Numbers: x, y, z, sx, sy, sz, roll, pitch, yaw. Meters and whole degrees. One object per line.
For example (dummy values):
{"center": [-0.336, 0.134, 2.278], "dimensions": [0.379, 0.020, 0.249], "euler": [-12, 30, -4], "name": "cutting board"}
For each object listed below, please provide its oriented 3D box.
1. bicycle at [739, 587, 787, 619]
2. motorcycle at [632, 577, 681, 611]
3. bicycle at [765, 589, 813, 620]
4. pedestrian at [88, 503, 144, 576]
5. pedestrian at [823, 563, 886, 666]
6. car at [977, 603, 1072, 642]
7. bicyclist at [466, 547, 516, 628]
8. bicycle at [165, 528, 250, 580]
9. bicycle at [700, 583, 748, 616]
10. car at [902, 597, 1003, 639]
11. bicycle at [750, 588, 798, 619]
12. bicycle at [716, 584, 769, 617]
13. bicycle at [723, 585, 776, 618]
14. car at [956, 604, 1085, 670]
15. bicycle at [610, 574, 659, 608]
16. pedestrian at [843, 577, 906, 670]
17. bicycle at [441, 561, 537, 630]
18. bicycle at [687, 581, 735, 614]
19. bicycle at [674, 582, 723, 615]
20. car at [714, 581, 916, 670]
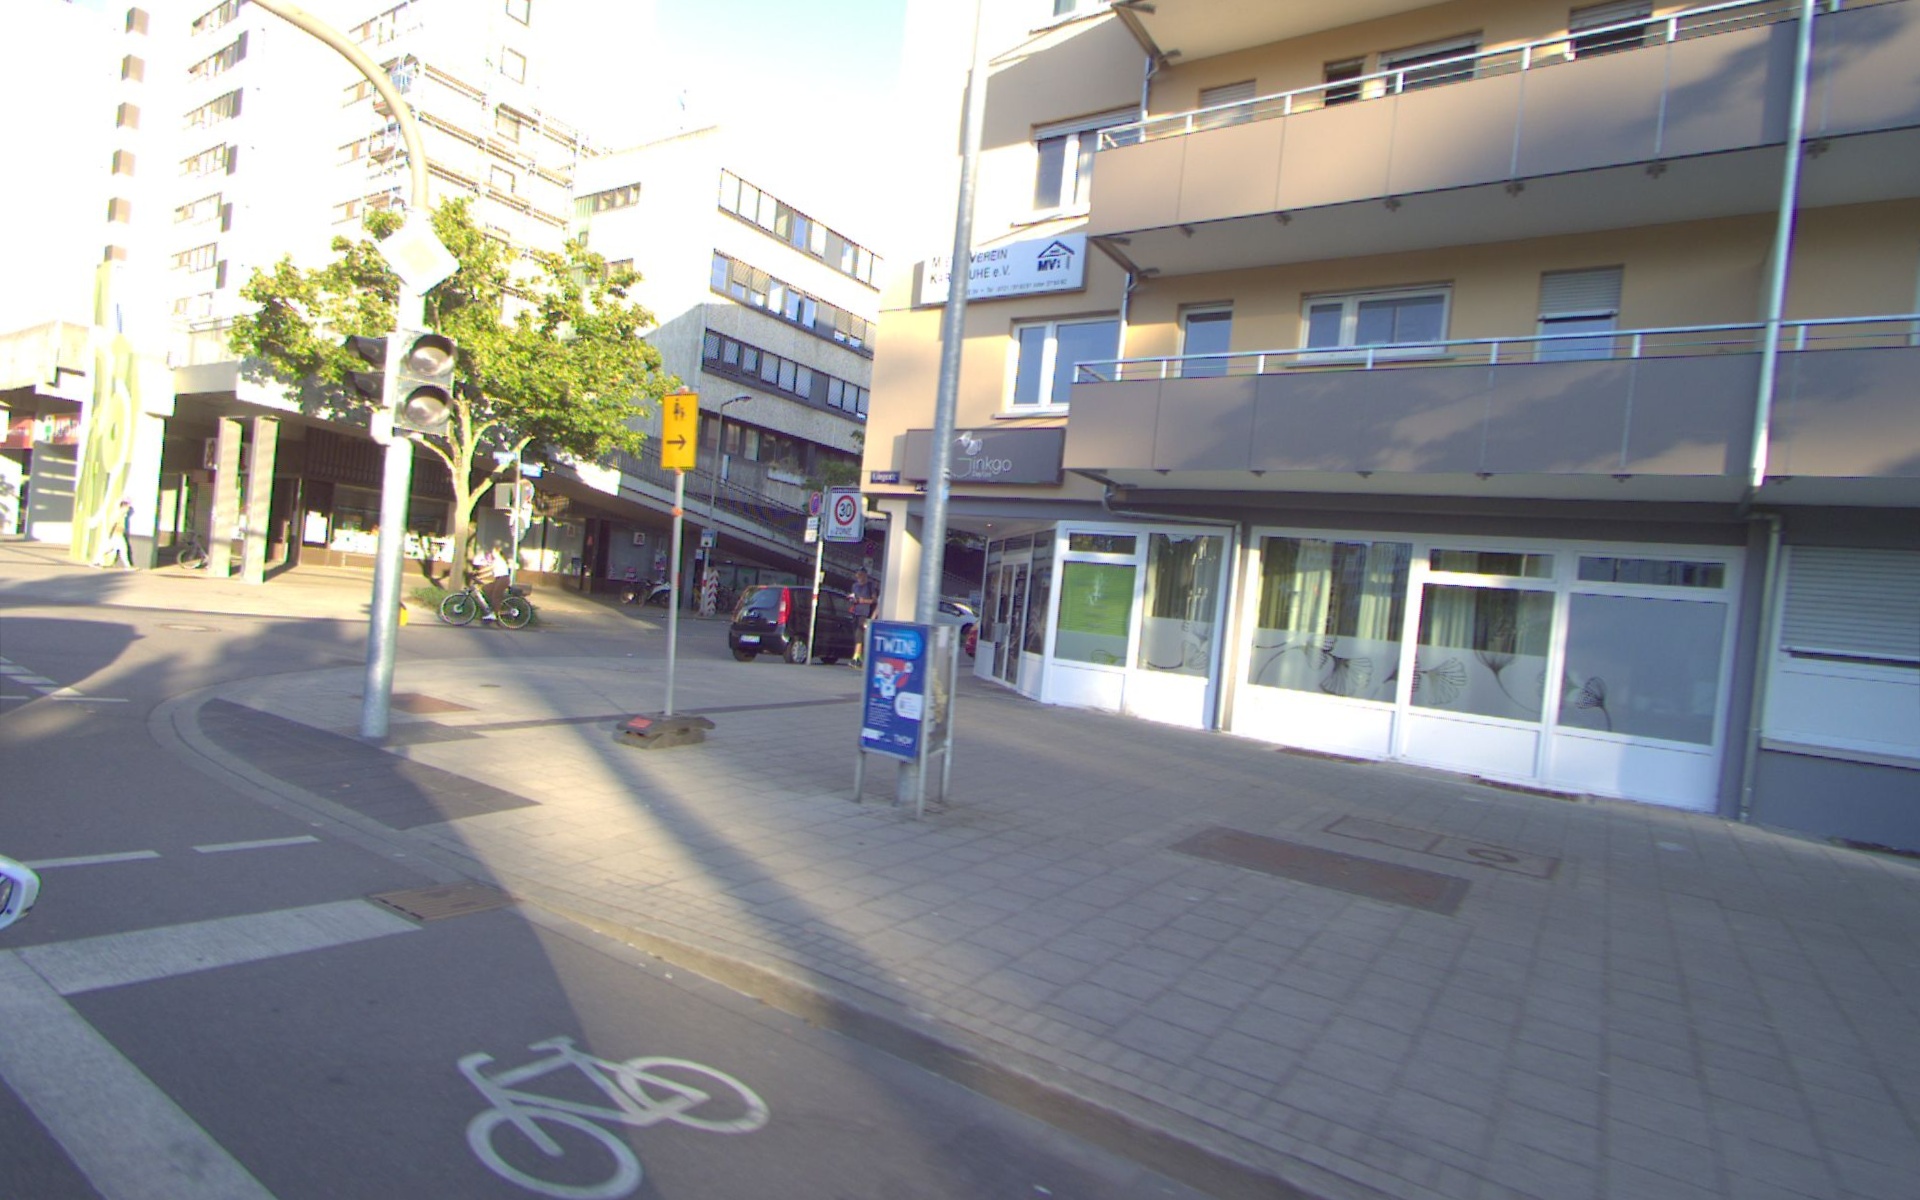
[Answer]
{"center": [-8.214, 0.123, 41.968], "dimensions": [1.943, 1.086, 0.582], "euler": [5, -3, 29], "name": "bicycle"}
{"center": [-11.403, -0.231, 37.715], "dimensions": [1.848, 1.086, 0.646], "euler": [5, -3, 35], "name": "motorcycle"}
{"center": [-7.270, 0.203, 42.754], "dimensions": [1.942, 1.086, 0.583], "euler": [5, -3, 26], "name": "bicycle"}
{"center": [-21.381, -1.519, 25.487], "dimensions": [0.637, 1.733, 0.835], "euler": [6, 1, 34], "name": "pedestrian"}
{"center": [-1.976, 0.281, 18.850], "dimensions": [0.637, 1.851, 0.836], "euler": [6, 1, 31], "name": "pedestrian"}
{"center": [2.930, 1.038, 46.282], "dimensions": [3.990, 1.605, 1.700], "euler": [2, -1, 33], "name": "car"}
{"center": [-10.363, -0.283, 22.216], "dimensions": [0.812, 1.702, 0.648], "euler": [6, 1, -31], "name": "bicyclist"}
{"center": [-20.928, -1.275, 27.988], "dimensions": [1.984, 1.162, 0.692], "euler": [6, -3, 14], "name": "bicycle"}
{"center": [-9.280, -0.018, 39.565], "dimensions": [1.947, 1.086, 0.581], "euler": [5, -3, 35], "name": "bicycle"}
{"center": [-0.327, 0.764, 42.847], "dimensions": [3.990, 1.605, 1.700], "euler": [2, -1, 33], "name": "car"}
{"center": [-7.846, 0.158, 42.405], "dimensions": [1.943, 1.086, 0.582], "euler": [5, -3, 29], "name": "bicycle"}
{"center": [-8.892, 0.023, 41.117], "dimensions": [1.939, 1.086, 0.584], "euler": [6, -3, 13], "name": "bicycle"}
{"center": [-8.699, 0.054, 41.559], "dimensions": [1.939, 1.086, 0.584], "euler": [7, -3, 9], "name": "bicycle"}
{"center": [1.737, 1.022, 27.479], "dimensions": [1.679, 1.605, 4.040], "euler": [2, -1, 33], "name": "car"}
{"center": [-12.101, -0.343, 37.365], "dimensions": [1.947, 1.086, 0.581], "euler": [5, -3, 35], "name": "bicycle"}
{"center": [-1.559, 0.444, 18.440], "dimensions": [0.637, 1.606, 0.836], "euler": [6, 1, 31], "name": "pedestrian"}
{"center": [-10.387, -0.085, 22.211], "dimensions": [1.768, 1.326, 0.648], "euler": [6, 0, -31], "name": "bicycle"}
{"center": [-9.697, -0.110, 39.179], "dimensions": [1.947, 1.086, 0.581], "euler": [5, -3, 35], "name": "bicycle"}
{"center": [-10.019, -0.051, 38.522], "dimensions": [1.947, 1.086, 0.581], "euler": [5, -3, 35], "name": "bicycle"}
{"center": [-2.853, 0.544, 20.533], "dimensions": [1.681, 1.605, 4.037], "euler": [2, -1, 37], "name": "car"}
